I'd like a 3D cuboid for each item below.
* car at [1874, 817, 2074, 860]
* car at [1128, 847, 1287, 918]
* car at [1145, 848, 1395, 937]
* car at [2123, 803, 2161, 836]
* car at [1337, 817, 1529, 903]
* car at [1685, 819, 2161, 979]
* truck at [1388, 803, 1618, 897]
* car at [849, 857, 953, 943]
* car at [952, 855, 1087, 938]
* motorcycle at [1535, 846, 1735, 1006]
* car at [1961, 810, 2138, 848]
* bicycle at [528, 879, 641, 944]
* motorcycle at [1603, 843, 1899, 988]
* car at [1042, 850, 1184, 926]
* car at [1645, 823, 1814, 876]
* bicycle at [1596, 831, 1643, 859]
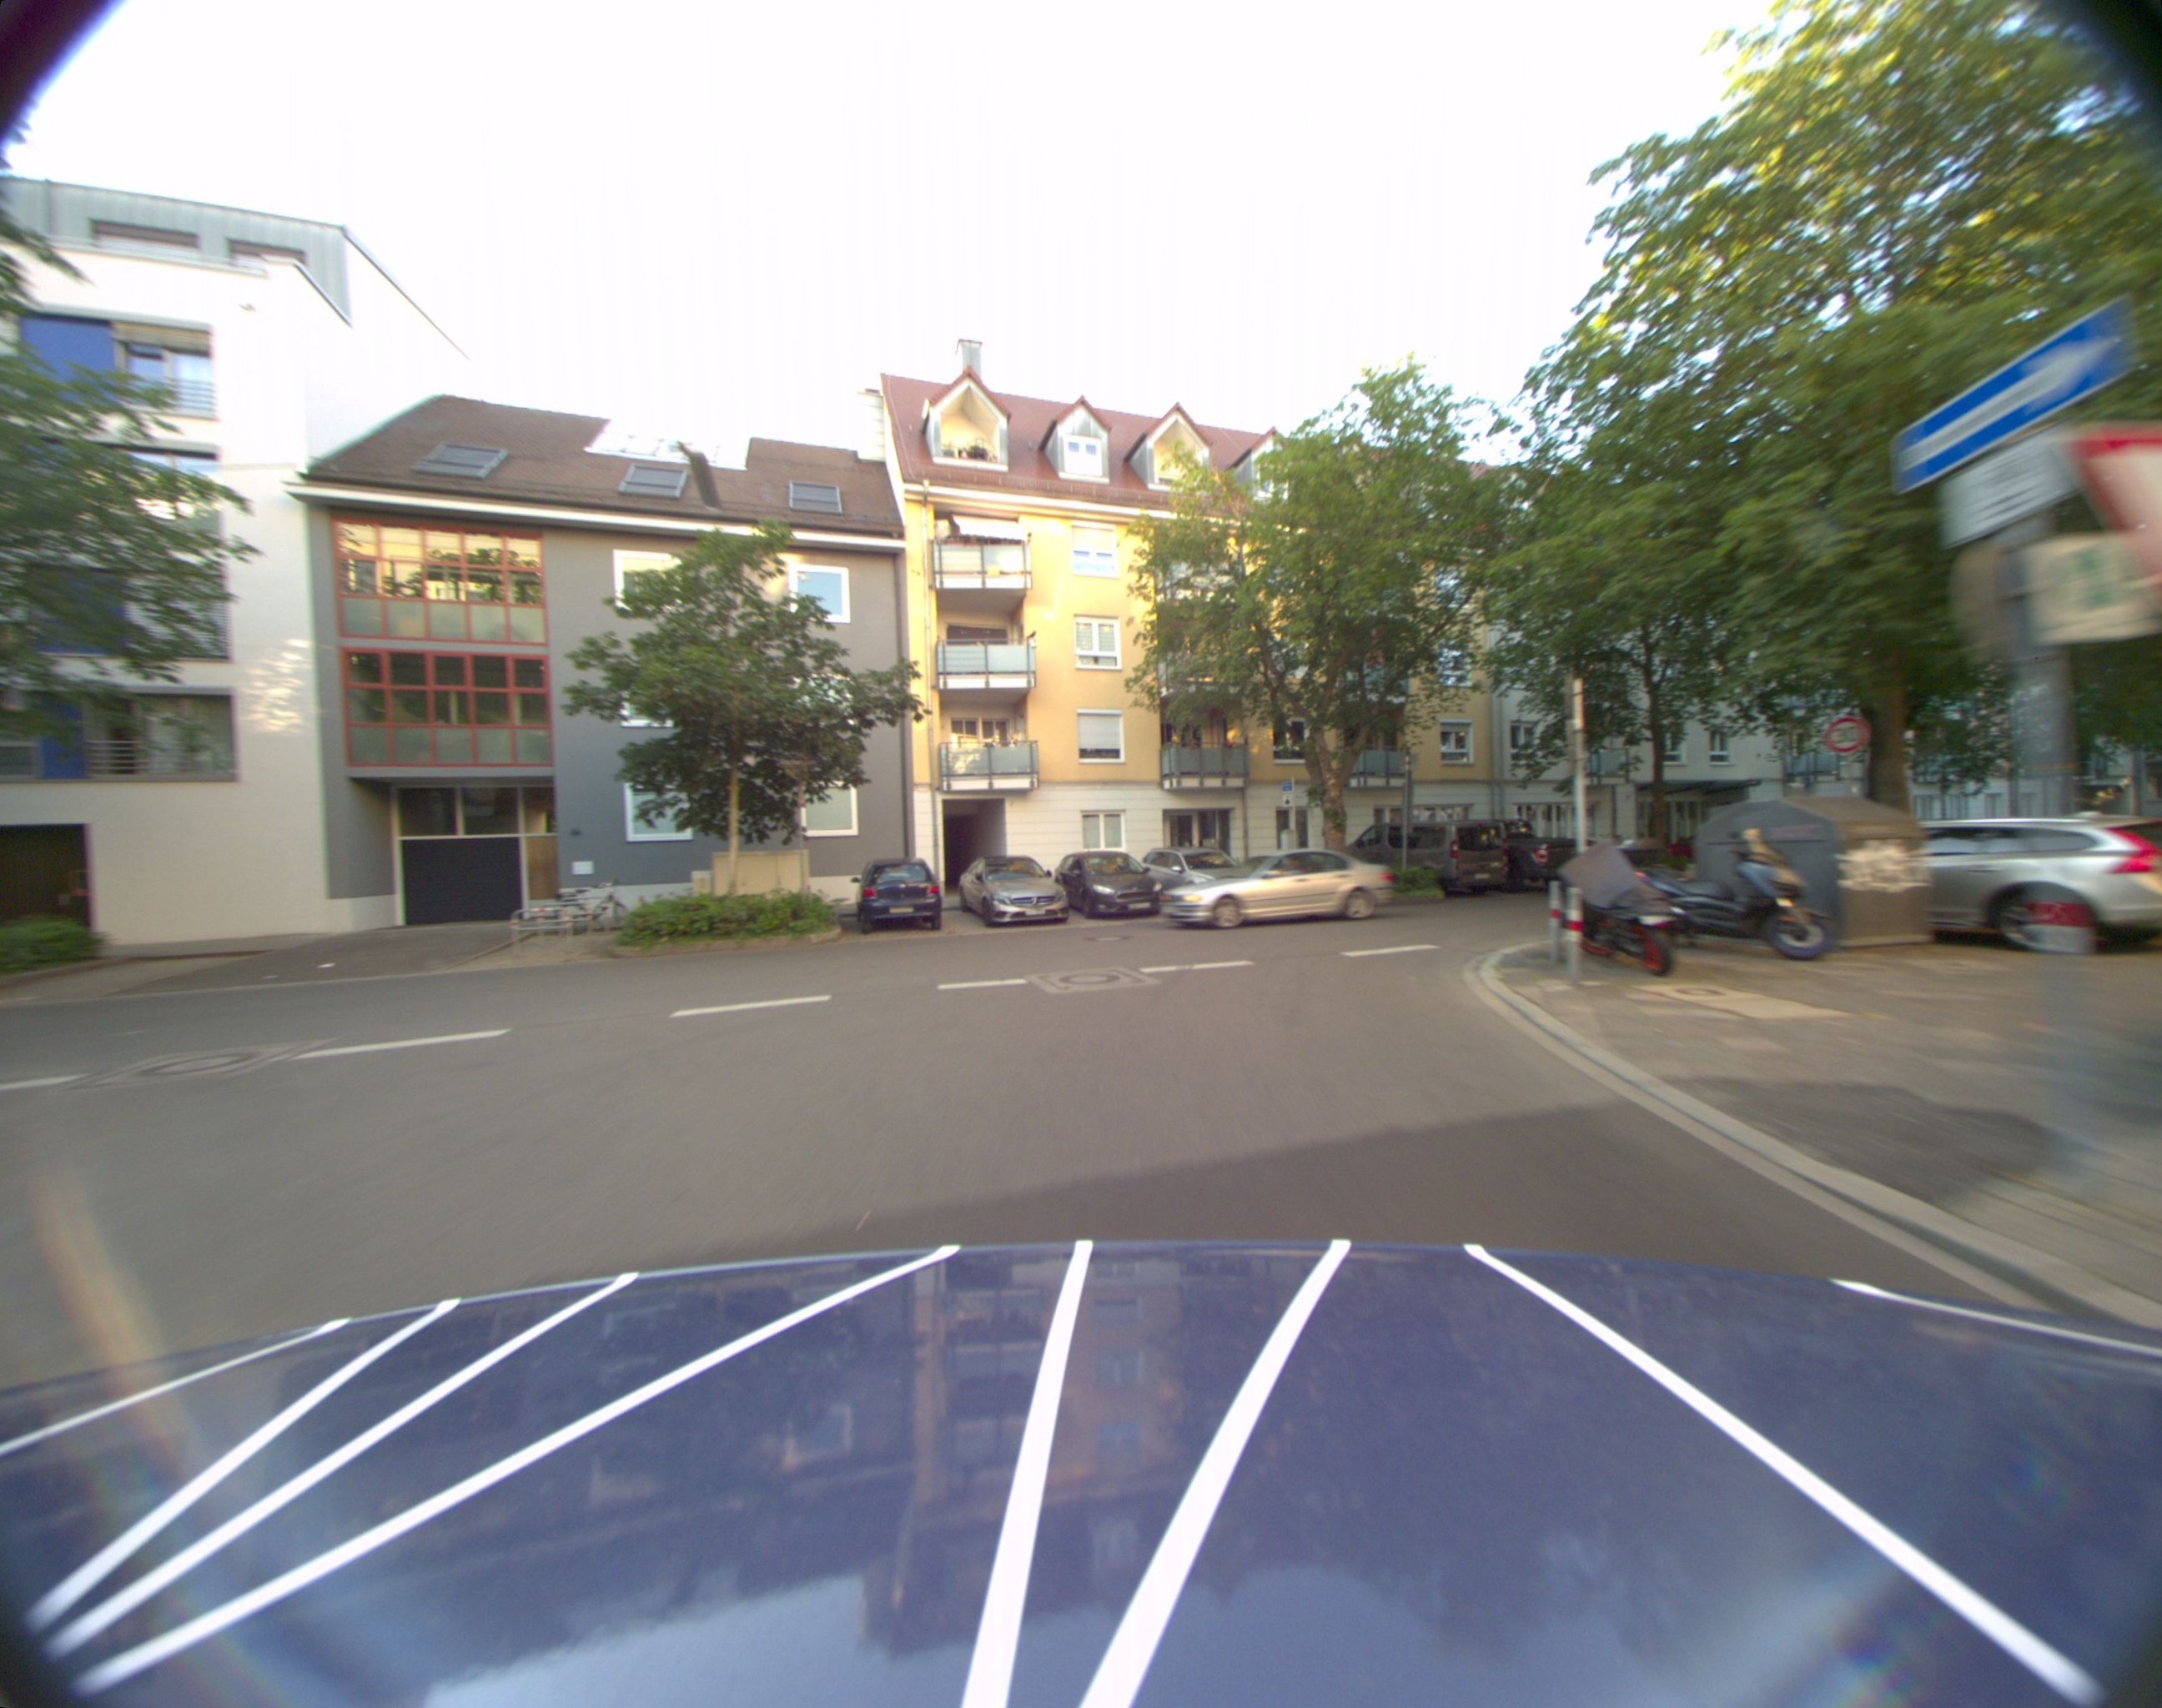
[{"bbox_3d":[34.200,-0.680,29.307,1.797,1.460,4.605,-3,4,-19],"label":"car"},{"bbox_3d":[3.052,0.612,19.421,1.963,1.494,4.628,-3,2,-20],"label":"car"},{"bbox_3d":[3.596,0.660,14.558,4.335,1.363,1.735,-2,1,-17],"label":"car"},{"bbox_3d":[53.122,-1.654,36.000,1.918,1.577,3.974,-3,4,-19],"label":"car"},{"bbox_3d":[9.559,0.120,21.115,2.199,2.055,4.607,-3,1,-19],"label":"car"},{"bbox_3d":[11.032,0.426,9.864,2.076,1.543,4.628,-3,1,-16],"label":"car"},{"bbox_3d":[11.919,-0.112,22.131,2.214,2.297,5.898,-3,1,-17],"label":"truck"},{"bbox_3d":[-4.026,0.890,16.569,1.833,1.555,3.545,-3,1,-18],"label":"car"},{"bbox_3d":[-1.595,0.865,17.712,2.012,1.562,4.629,-3,1,-18],"label":"car"},{"bbox_3d":[5.684,0.651,8.010,0.851,1.412,2.256,-2,1,13],"label":"motorcycle"},{"bbox_3d":[39.847,-1.080,31.392,1.937,1.444,4.086,-3,4,-23],"label":"car"},{"bbox_3d":[-10.647,1.218,16.354,1.804,1.228,0.829,-2,2,-14],"label":"bicycle"},{"bbox_3d":[7.598,0.605,8.841,0.911,1.412,2.457,-3,1,-16],"label":"motorcycle"},{"bbox_3d":[0.603,0.733,18.687,1.992,1.512,4.791,-3,1,-17],"label":"car"},{"bbox_3d":[21.273,-0.139,25.101,1.879,1.535,3.782,-3,1,-19],"label":"car"},{"bbox_3d":[20.768,-0.355,29.293,1.883,1.031,0.424,-2,3,-18],"label":"bicycle"}]
